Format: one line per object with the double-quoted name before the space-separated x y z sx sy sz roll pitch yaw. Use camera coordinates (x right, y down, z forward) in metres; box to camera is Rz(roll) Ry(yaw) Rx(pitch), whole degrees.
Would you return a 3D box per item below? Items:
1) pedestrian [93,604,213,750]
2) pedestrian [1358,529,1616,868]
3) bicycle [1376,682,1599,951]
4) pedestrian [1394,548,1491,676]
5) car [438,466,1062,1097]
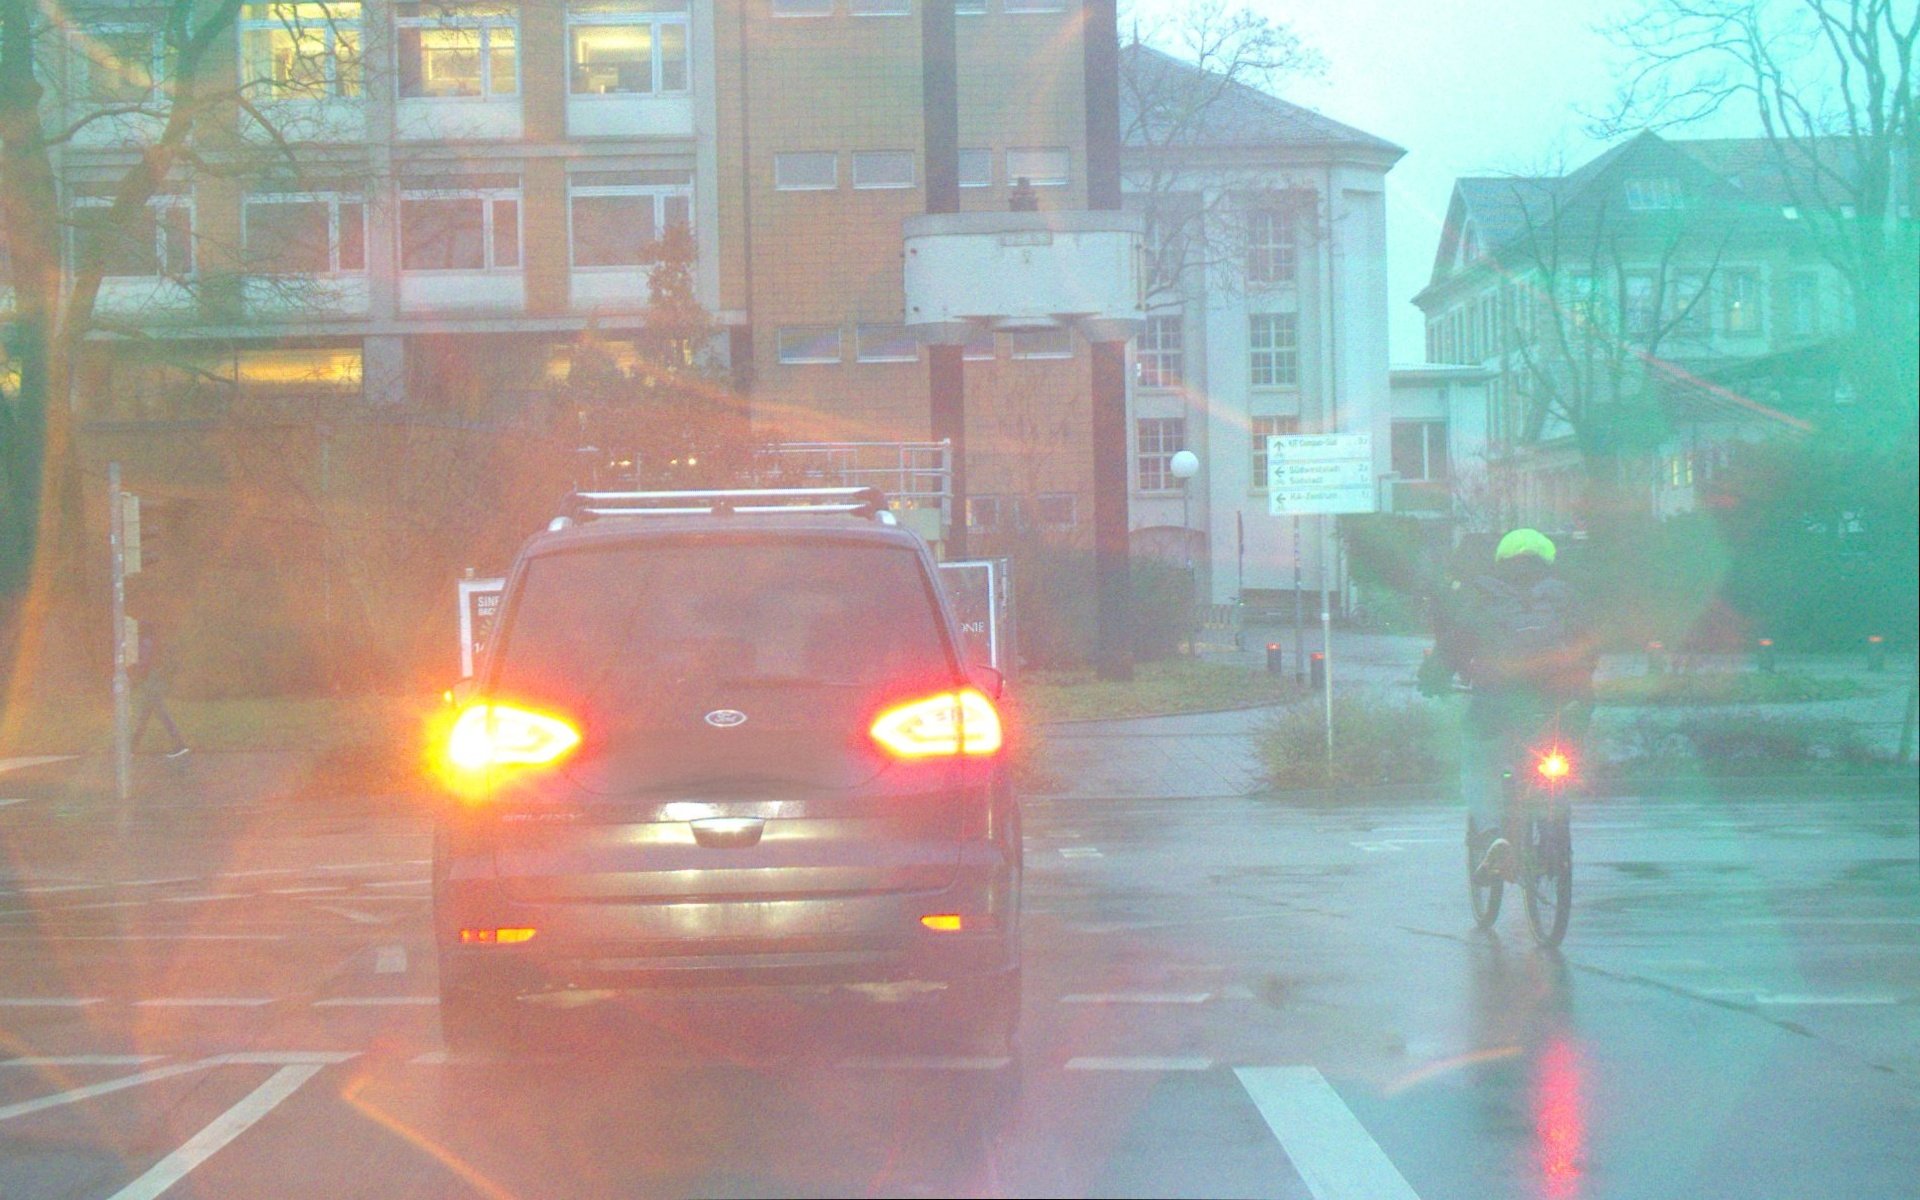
"pedestrian" -9.702 0.924 41.357 1.068 1.682 0.809 -2 2 20
"pedestrian" 2.138 0.386 14.053 0.874 1.312 0.848 -2 0 0
"bicycle" 2.169 0.863 14.351 0.561 0.943 2.095 -2 1 -1
"pedestrian" 6.513 0.147 46.418 0.925 1.682 0.912 -2 3 -43
"car" -0.733 0.540 12.128 1.777 1.794 4.425 -1 -1 -3
